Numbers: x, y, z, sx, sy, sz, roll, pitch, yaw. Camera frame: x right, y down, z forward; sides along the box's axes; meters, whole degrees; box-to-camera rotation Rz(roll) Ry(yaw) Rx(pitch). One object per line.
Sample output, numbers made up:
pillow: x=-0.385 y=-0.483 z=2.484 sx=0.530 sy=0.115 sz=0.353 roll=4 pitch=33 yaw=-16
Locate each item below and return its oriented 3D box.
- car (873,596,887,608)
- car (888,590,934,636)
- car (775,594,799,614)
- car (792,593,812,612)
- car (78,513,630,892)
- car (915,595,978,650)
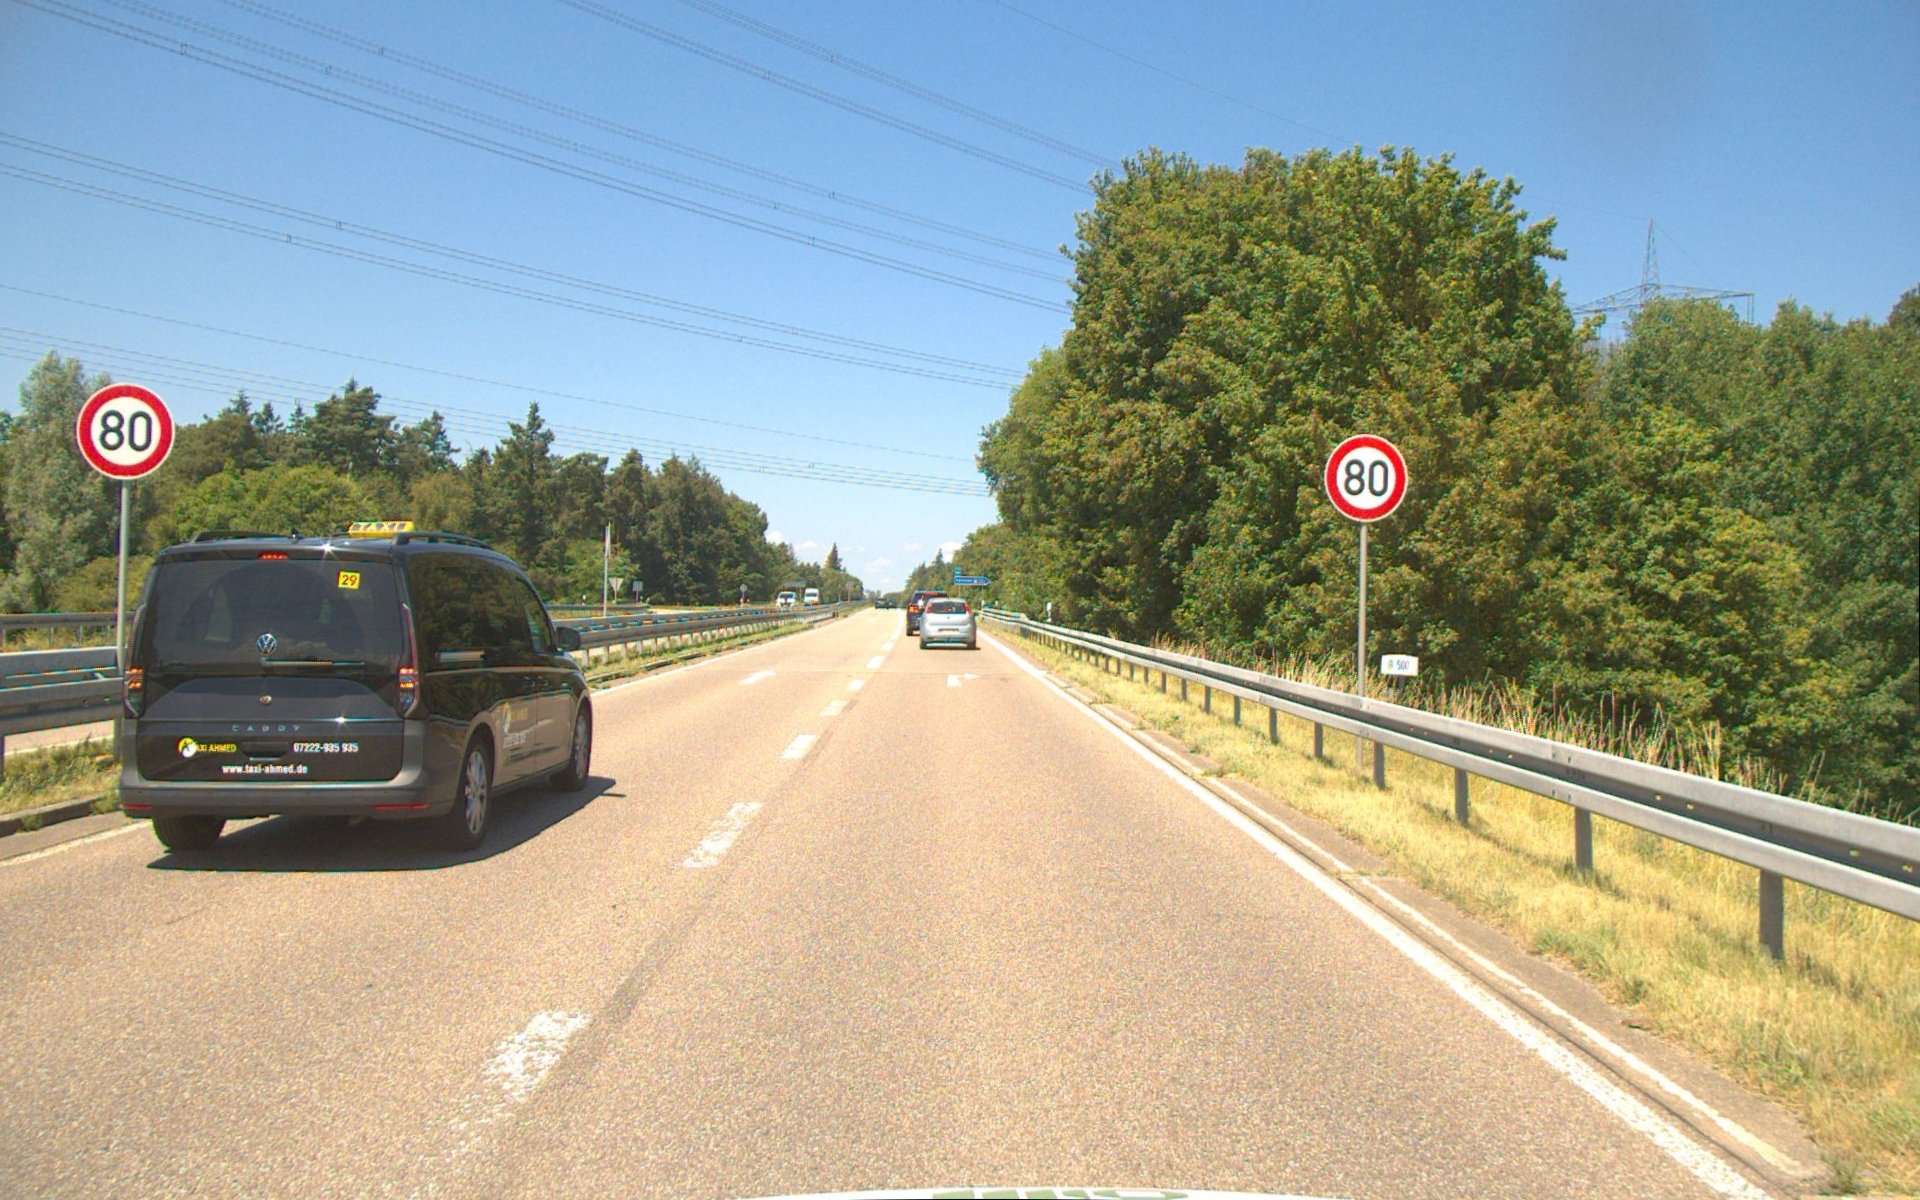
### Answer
car: x=-10.126 y=0.268 z=210.062 sx=1.678 sy=1.497 sz=3.572 roll=3 pitch=0 yaw=-2
car: x=-1.964 y=0.484 z=65.209 sx=1.608 sy=1.682 sz=3.571 roll=3 pitch=0 yaw=-4
car: x=-18.076 y=0.394 z=173.007 sx=1.852 sy=2.027 sz=5.532 roll=0 pitch=0 yaw=0
car: x=-22.691 y=0.334 z=237.601 sx=2.474 sy=2.664 sz=7.181 roll=-1 pitch=0 yaw=-3
car: x=-3.628 y=0.523 z=11.192 sx=1.817 sy=1.920 sz=5.571 roll=0 pitch=0 yaw=-2
car: x=-0.430 y=0.645 z=49.038 sx=1.608 sy=1.493 sz=3.416 roll=3 pitch=0 yaw=-4
